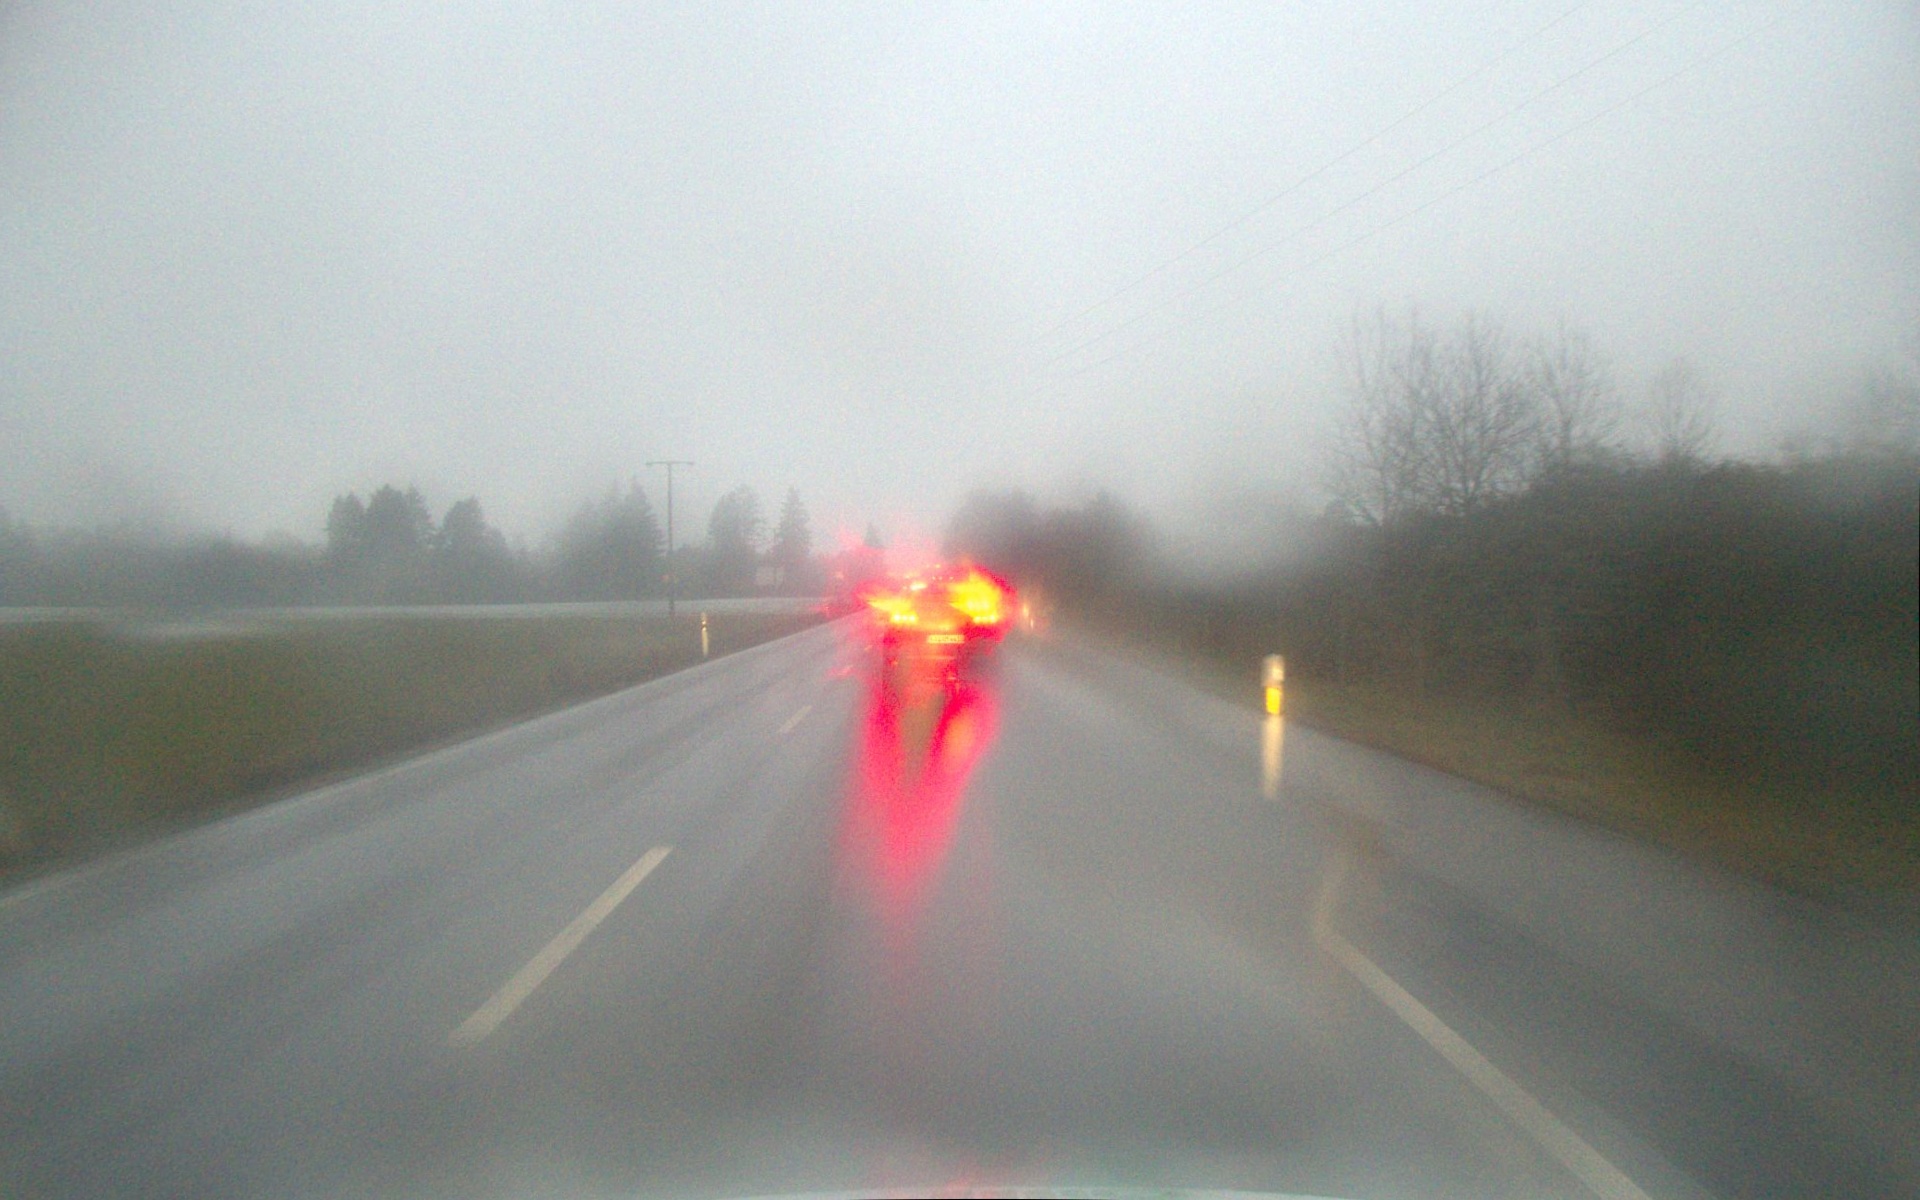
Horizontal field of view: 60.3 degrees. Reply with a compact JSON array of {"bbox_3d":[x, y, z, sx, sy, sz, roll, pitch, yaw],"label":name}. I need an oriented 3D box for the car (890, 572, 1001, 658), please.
[{"bbox_3d":[-0.379,0.331,44.191,2.699,2.071,6.590,-1,1,0],"label":"car"}]

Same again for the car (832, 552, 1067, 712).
[{"bbox_3d":[-0.167,0.387,25.476,3.100,2.071,6.851,-1,1,0],"label":"car"}]
